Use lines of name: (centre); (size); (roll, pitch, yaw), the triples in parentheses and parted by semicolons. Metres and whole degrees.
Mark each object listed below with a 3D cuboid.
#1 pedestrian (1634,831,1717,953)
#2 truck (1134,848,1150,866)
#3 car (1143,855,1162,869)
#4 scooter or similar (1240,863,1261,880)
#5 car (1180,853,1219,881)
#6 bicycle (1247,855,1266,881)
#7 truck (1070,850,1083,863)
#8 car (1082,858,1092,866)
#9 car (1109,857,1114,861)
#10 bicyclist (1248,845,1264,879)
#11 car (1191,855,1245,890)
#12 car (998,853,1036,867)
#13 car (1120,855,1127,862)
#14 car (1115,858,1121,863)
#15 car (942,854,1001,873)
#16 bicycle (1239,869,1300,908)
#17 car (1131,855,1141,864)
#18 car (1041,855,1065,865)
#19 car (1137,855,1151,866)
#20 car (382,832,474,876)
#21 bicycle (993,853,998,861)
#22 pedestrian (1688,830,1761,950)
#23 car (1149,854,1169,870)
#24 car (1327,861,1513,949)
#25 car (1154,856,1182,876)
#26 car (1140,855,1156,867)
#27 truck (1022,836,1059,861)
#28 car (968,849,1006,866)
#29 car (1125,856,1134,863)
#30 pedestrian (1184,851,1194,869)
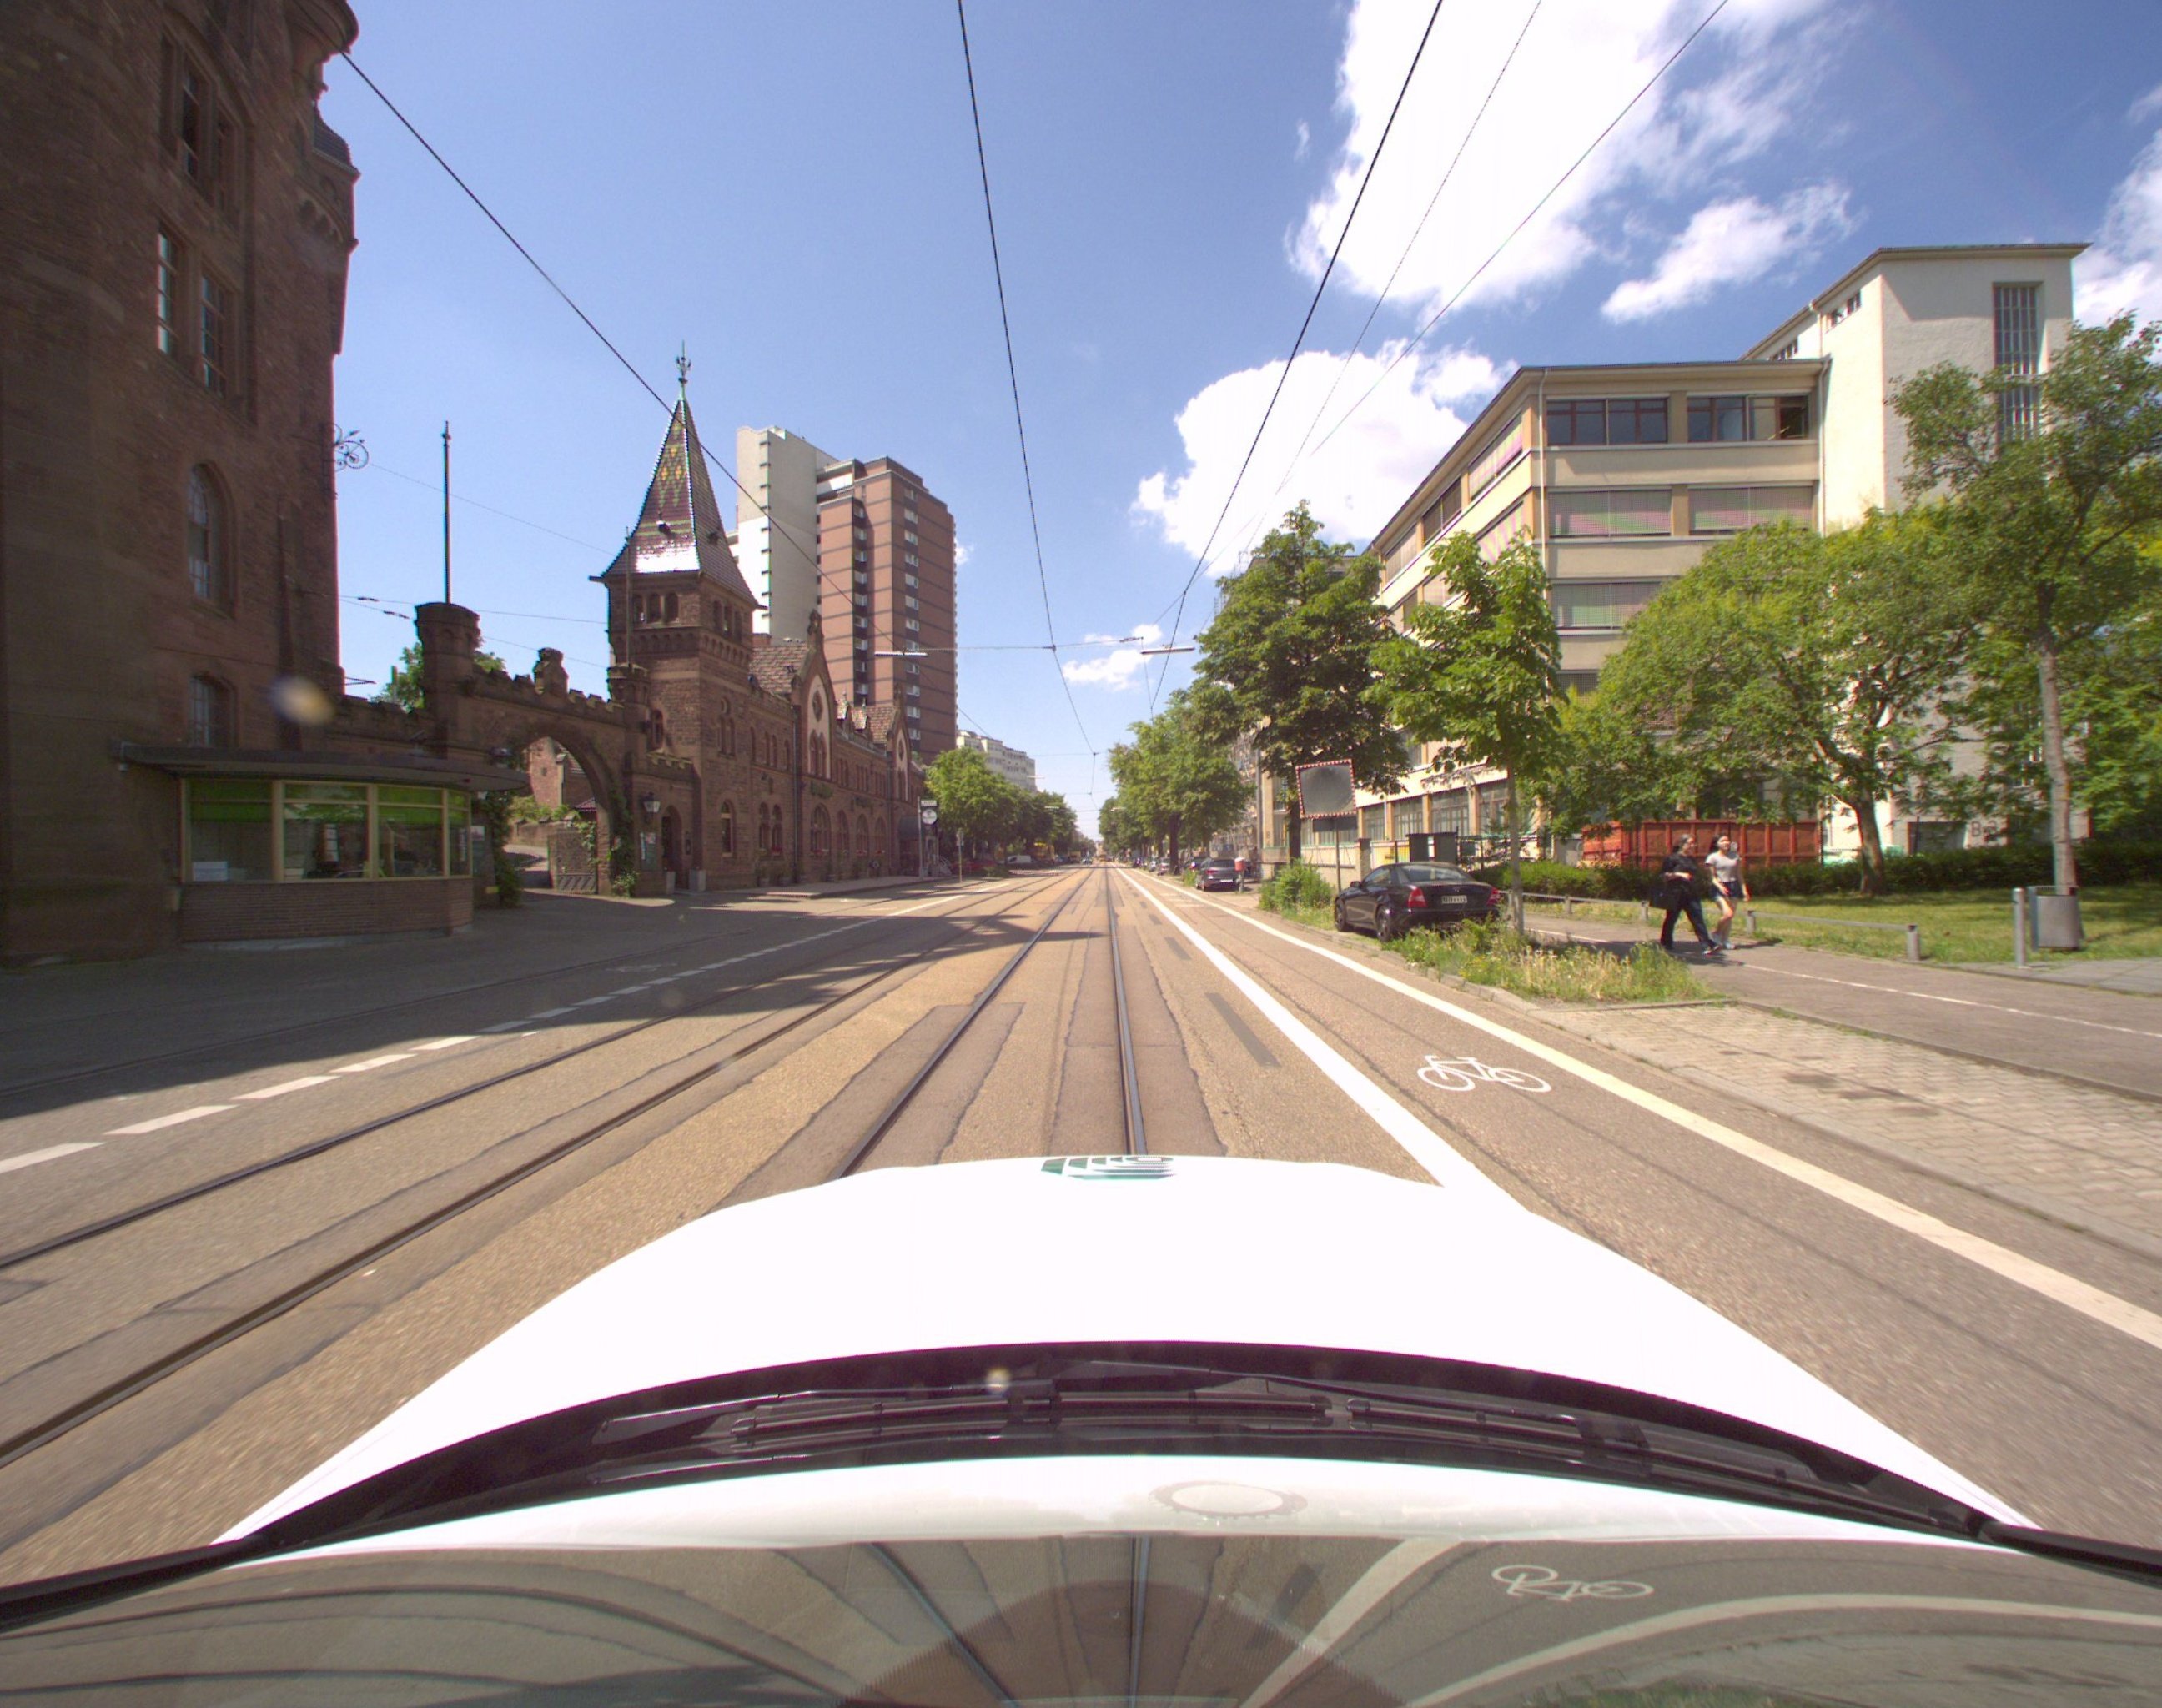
pedestrian: (7.985, 0.499, 10.953); (0.616, 1.573, 0.611); (-2, 0, 1)
truck: (8.966, 0.424, 120.549); (2.007, 2.489, 5.957); (-1, 0, 1)
car: (7.773, 0.860, 88.838); (1.665, 1.438, 4.042); (-1, 0, 1)
scooter or similar: (8.836, 0.917, 42.479); (0.759, 0.807, 1.556); (-3, 0, 2)
car: (6.614, 0.701, 45.871); (1.665, 1.489, 3.981); (-1, 0, 1)
bicycle: (8.773, 0.696, 40.828); (0.552, 1.265, 1.774); (-3, 0, 2)
truck: (-1.002, 0.531, 190.214); (2.350, 2.852, 7.384); (-2, 0, 3)
car: (1.215, 1.675, 168.446); (1.824, 1.681, 4.186); (-1, 0, 2)
car: (9.763, 1.511, 260.391); (1.774, 1.346, 3.417); (-1, 0, 2)
bicyclist: (8.730, 0.391, 40.659); (0.578, 1.648, 0.599); (-3, 0, 1)
car: (5.989, 0.768, 36.038); (1.665, 1.408, 4.749); (-1, 0, 1)
car: (-8.197, 0.749, 104.538); (4.563, 1.791, 1.882); (0, 0, -31)
car: (11.207, 1.210, 215.013); (1.586, 1.617, 3.908); (-2, -1, 1)
car: (11.536, 1.926, 252.526); (1.704, 1.423, 4.310); (-2, -1, 1)
car: (-9.627, 0.832, 71.850); (4.791, 1.566, 1.984); (0, 0, -27)
bicycle: (5.305, 0.965, 22.929); (1.580, 1.060, 0.562); (-1, 0, 0)
car: (9.426, 0.918, 140.009); (1.637, 1.534, 3.788); (-1, 0, 3)
car: (-5.604, 1.192, 163.547); (1.898, 1.935, 4.785); (-3, -1, 44)
car: (8.499, 0.851, 109.850); (1.816, 1.471, 4.405); (-1, 0, 4)
car: (-25.958, -0.031, 32.531); (1.761, 1.494, 3.973); (1, 3, -21)
bicycle: (-11.470, 0.391, 109.262); (0.516, 1.047, 1.876); (0, 0, 0)
pedestrian: (8.727, 0.479, 11.060); (0.511, 1.573, 0.545); (-2, 0, 2)
car: (7.572, 0.748, 79.298); (1.665, 1.517, 4.202); (-1, 0, 1)
car: (5.639, 0.778, 14.080); (1.745, 1.270, 3.835); (0, 0, 2)
car: (7.063, 0.932, 66.311); (1.666, 1.499, 4.363); (-1, 0, -1)
car: (8.139, 0.825, 98.909); (1.817, 1.471, 4.490); (-1, 0, 3)
truck: (-6.588, -0.877, 133.941); (2.695, 3.842, 11.009); (0, -1, 16)
car: (-14.465, 0.623, 125.987); (2.157, 2.566, 6.766); (-1, -2, 32)
car: (10.366, 1.251, 173.970); (1.634, 1.485, 3.870); (-2, -1, -1)
pedestrian: (9.938, 0.559, 75.002); (0.797, 1.589, 0.919); (-2, 0, 0)
